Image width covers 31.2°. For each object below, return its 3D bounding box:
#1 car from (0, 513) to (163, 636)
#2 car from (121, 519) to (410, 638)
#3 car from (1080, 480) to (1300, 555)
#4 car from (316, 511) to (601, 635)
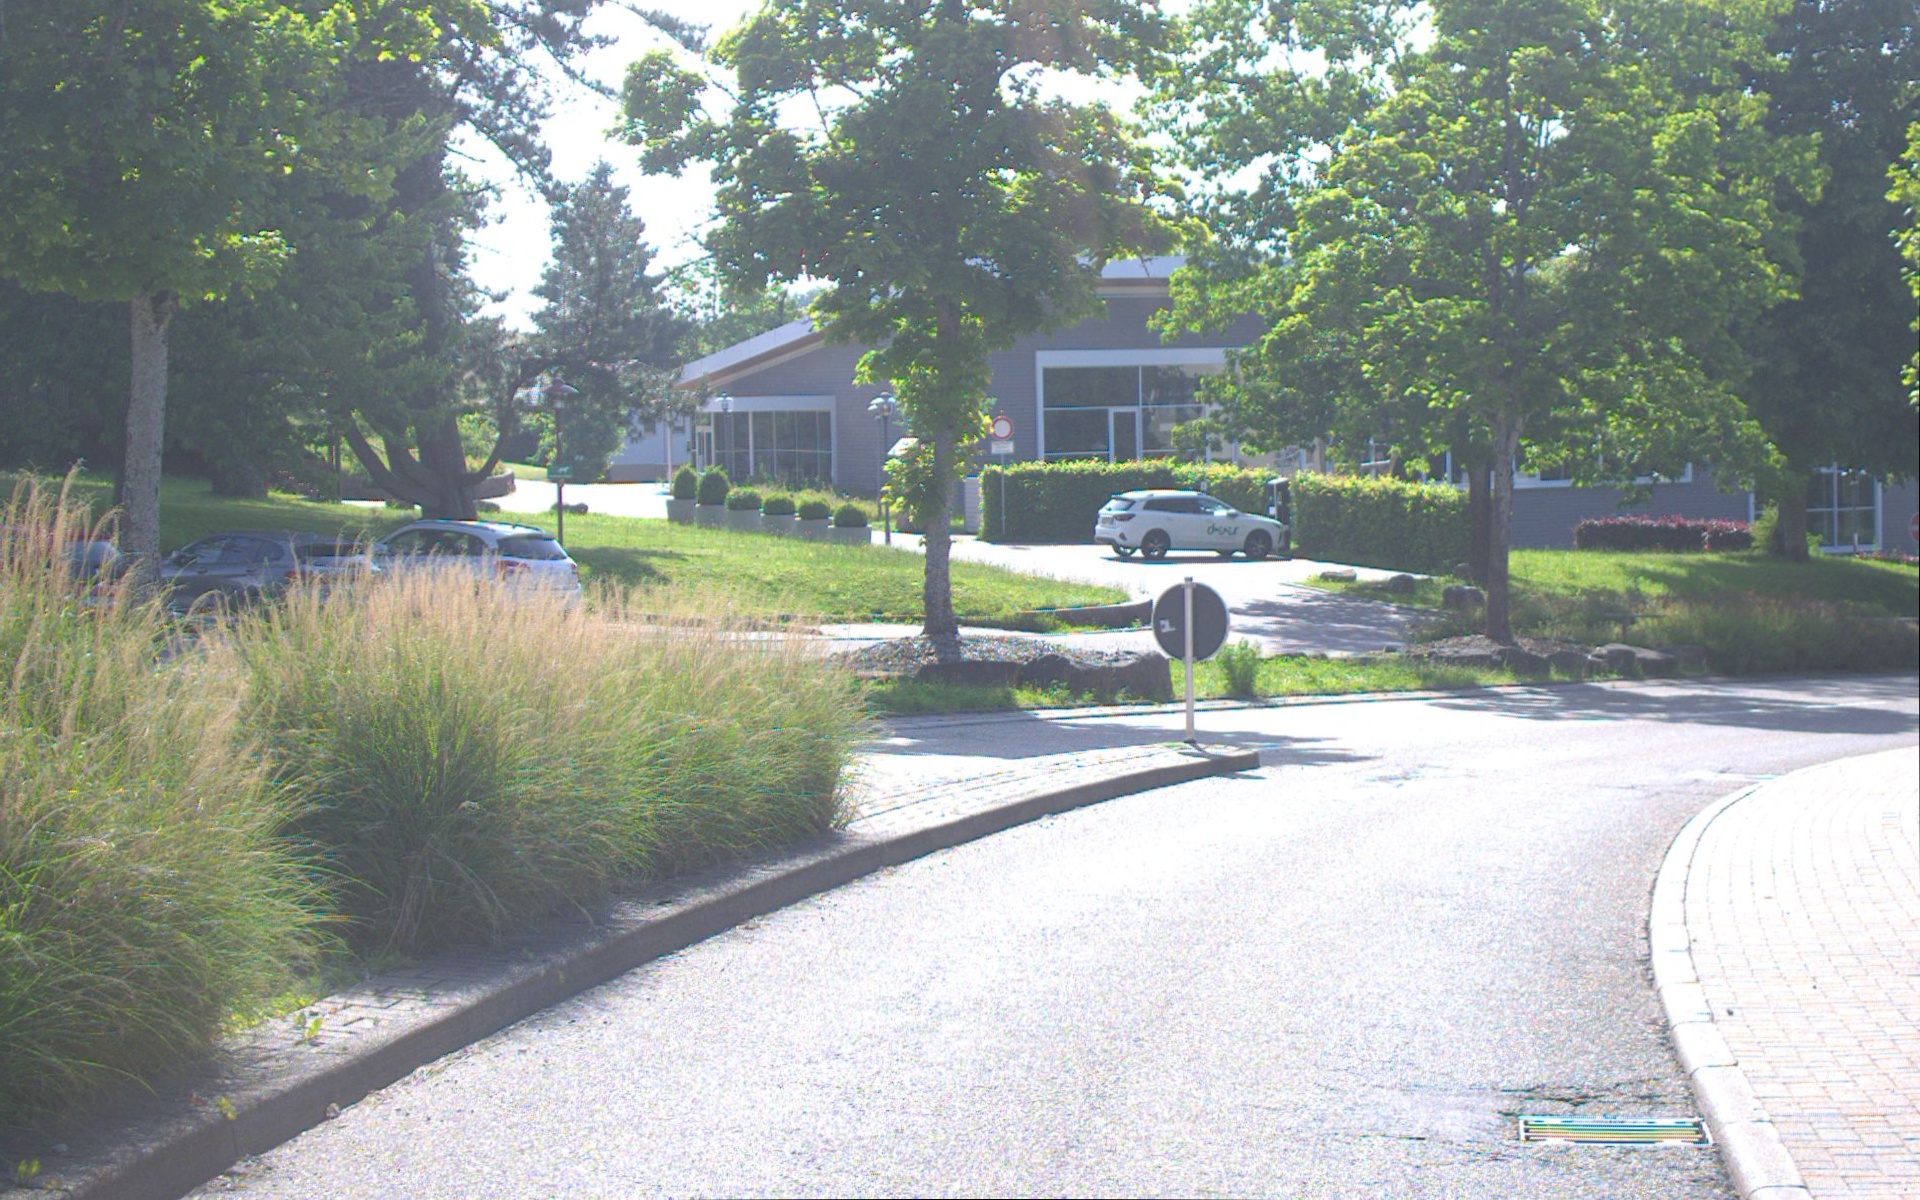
[{"bbox_3d":[-12.165,-0.361,44.667,3.204,1.465,1.773,4,2,34],"label":"car"},{"bbox_3d":[-9.522,-0.299,47.052,3.709,1.428,1.772,4,2,35],"label":"car"},{"bbox_3d":[5.400,-1.959,80.745,4.714,1.528,2.001,-1,7,-22],"label":"car"},{"bbox_3d":[-7.376,-0.406,50.471,3.937,1.603,1.772,4,2,35],"label":"car"}]
